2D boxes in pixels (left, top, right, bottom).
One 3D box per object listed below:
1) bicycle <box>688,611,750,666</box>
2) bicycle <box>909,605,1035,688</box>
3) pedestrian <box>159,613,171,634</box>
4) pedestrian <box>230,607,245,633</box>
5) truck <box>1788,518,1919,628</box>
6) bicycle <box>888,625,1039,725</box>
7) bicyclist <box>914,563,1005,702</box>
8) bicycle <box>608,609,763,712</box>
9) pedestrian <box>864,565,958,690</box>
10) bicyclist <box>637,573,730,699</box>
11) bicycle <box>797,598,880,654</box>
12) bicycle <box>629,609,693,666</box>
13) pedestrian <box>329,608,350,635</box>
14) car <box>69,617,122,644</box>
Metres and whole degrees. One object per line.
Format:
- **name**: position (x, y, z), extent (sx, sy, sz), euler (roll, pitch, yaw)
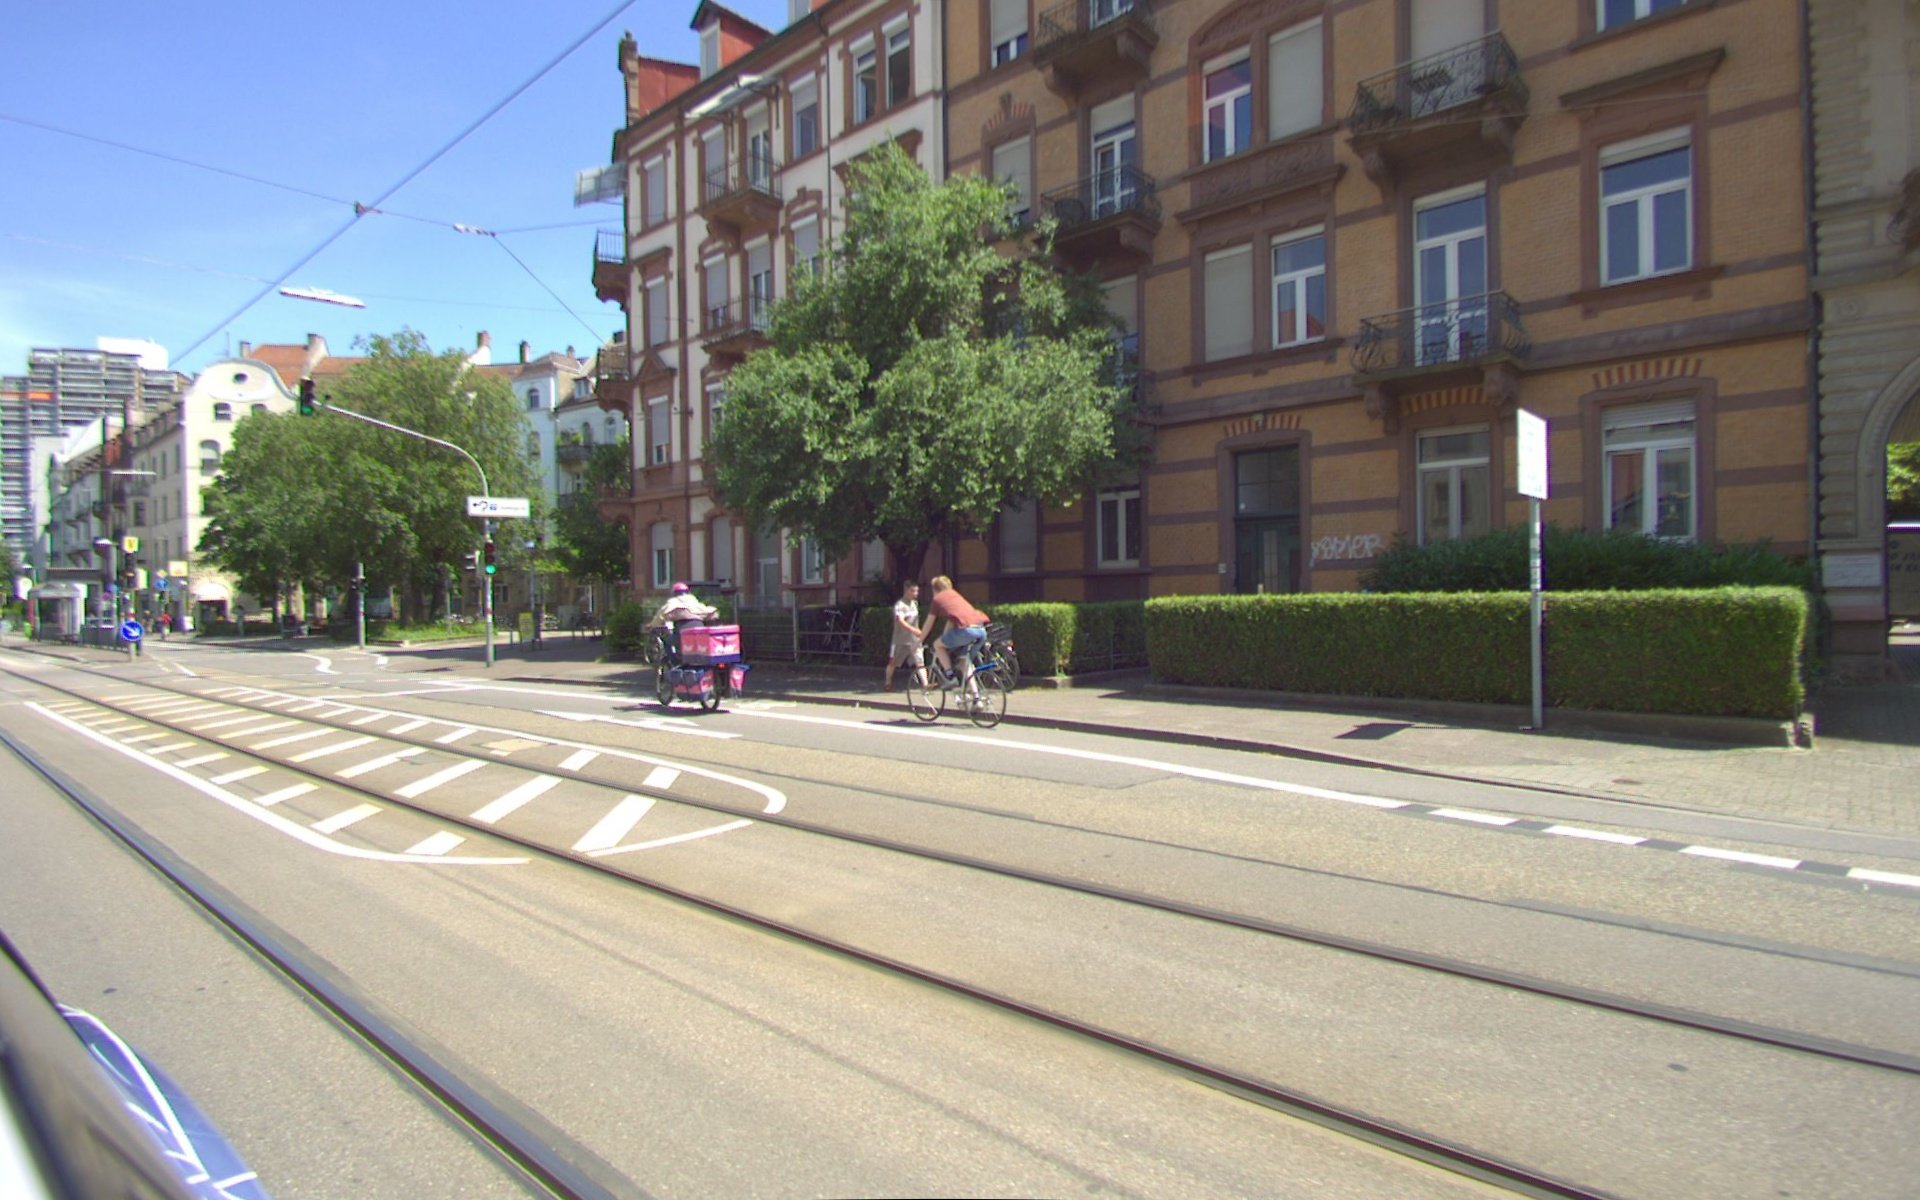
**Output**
- **bicycle**: position (-4.914, 0.767, 20.574), extent (0.454, 1.064, 1.565), euler (-1, 0, -45)
- **bicycle**: position (0.147, 0.655, 14.831), extent (0.631, 1.101, 1.932), euler (-4, 2, -45)
- **pedestrian**: position (-54.701, 1.618, 69.622), extent (0.519, 1.452, 0.531), euler (-1, 0, 32)
- **pedestrian**: position (-41.328, 1.154, 57.858), extent (0.519, 1.452, 0.531), euler (-1, 0, 32)
- **truck**: position (23.672, -0.680, 24.493), extent (5.212, 2.582, 2.079), euler (-1, 0, 28)
- **bicycle**: position (0.008, 0.818, 11.642), extent (1.829, 1.046, 0.561), euler (-1, 0, 43)
- **bicyclist**: position (-0.009, 0.364, 11.648), extent (0.892, 1.527, 0.556), euler (-1, 0, 43)
- **bicycle**: position (-3.798, 0.779, 13.851), extent (2.550, 1.281, 0.799), euler (-1, 0, 43)
- **pedestrian**: position (-0.714, 0.374, 14.619), extent (0.861, 1.713, 1.014), euler (-2, 1, -42)
- **bicyclist**: position (-3.784, 0.475, 13.841), extent (0.980, 1.642, 0.799), euler (-1, 0, 42)
- **bicycle**: position (-2.296, 0.473, 19.279), extent (0.495, 1.004, 1.628), euler (-1, 0, 43)
- **bicycle**: position (-6.521, 0.791, 22.009), extent (0.566, 1.177, 1.717), euler (-1, 0, -45)
- **pedestrian**: position (-31.189, 1.091, 50.876), extent (0.811, 1.327, 0.653), euler (-1, 0, -42)
- **car**: position (-46.309, 1.613, 54.191), extent (3.847, 1.320, 1.675), euler (-1, 0, 42)
